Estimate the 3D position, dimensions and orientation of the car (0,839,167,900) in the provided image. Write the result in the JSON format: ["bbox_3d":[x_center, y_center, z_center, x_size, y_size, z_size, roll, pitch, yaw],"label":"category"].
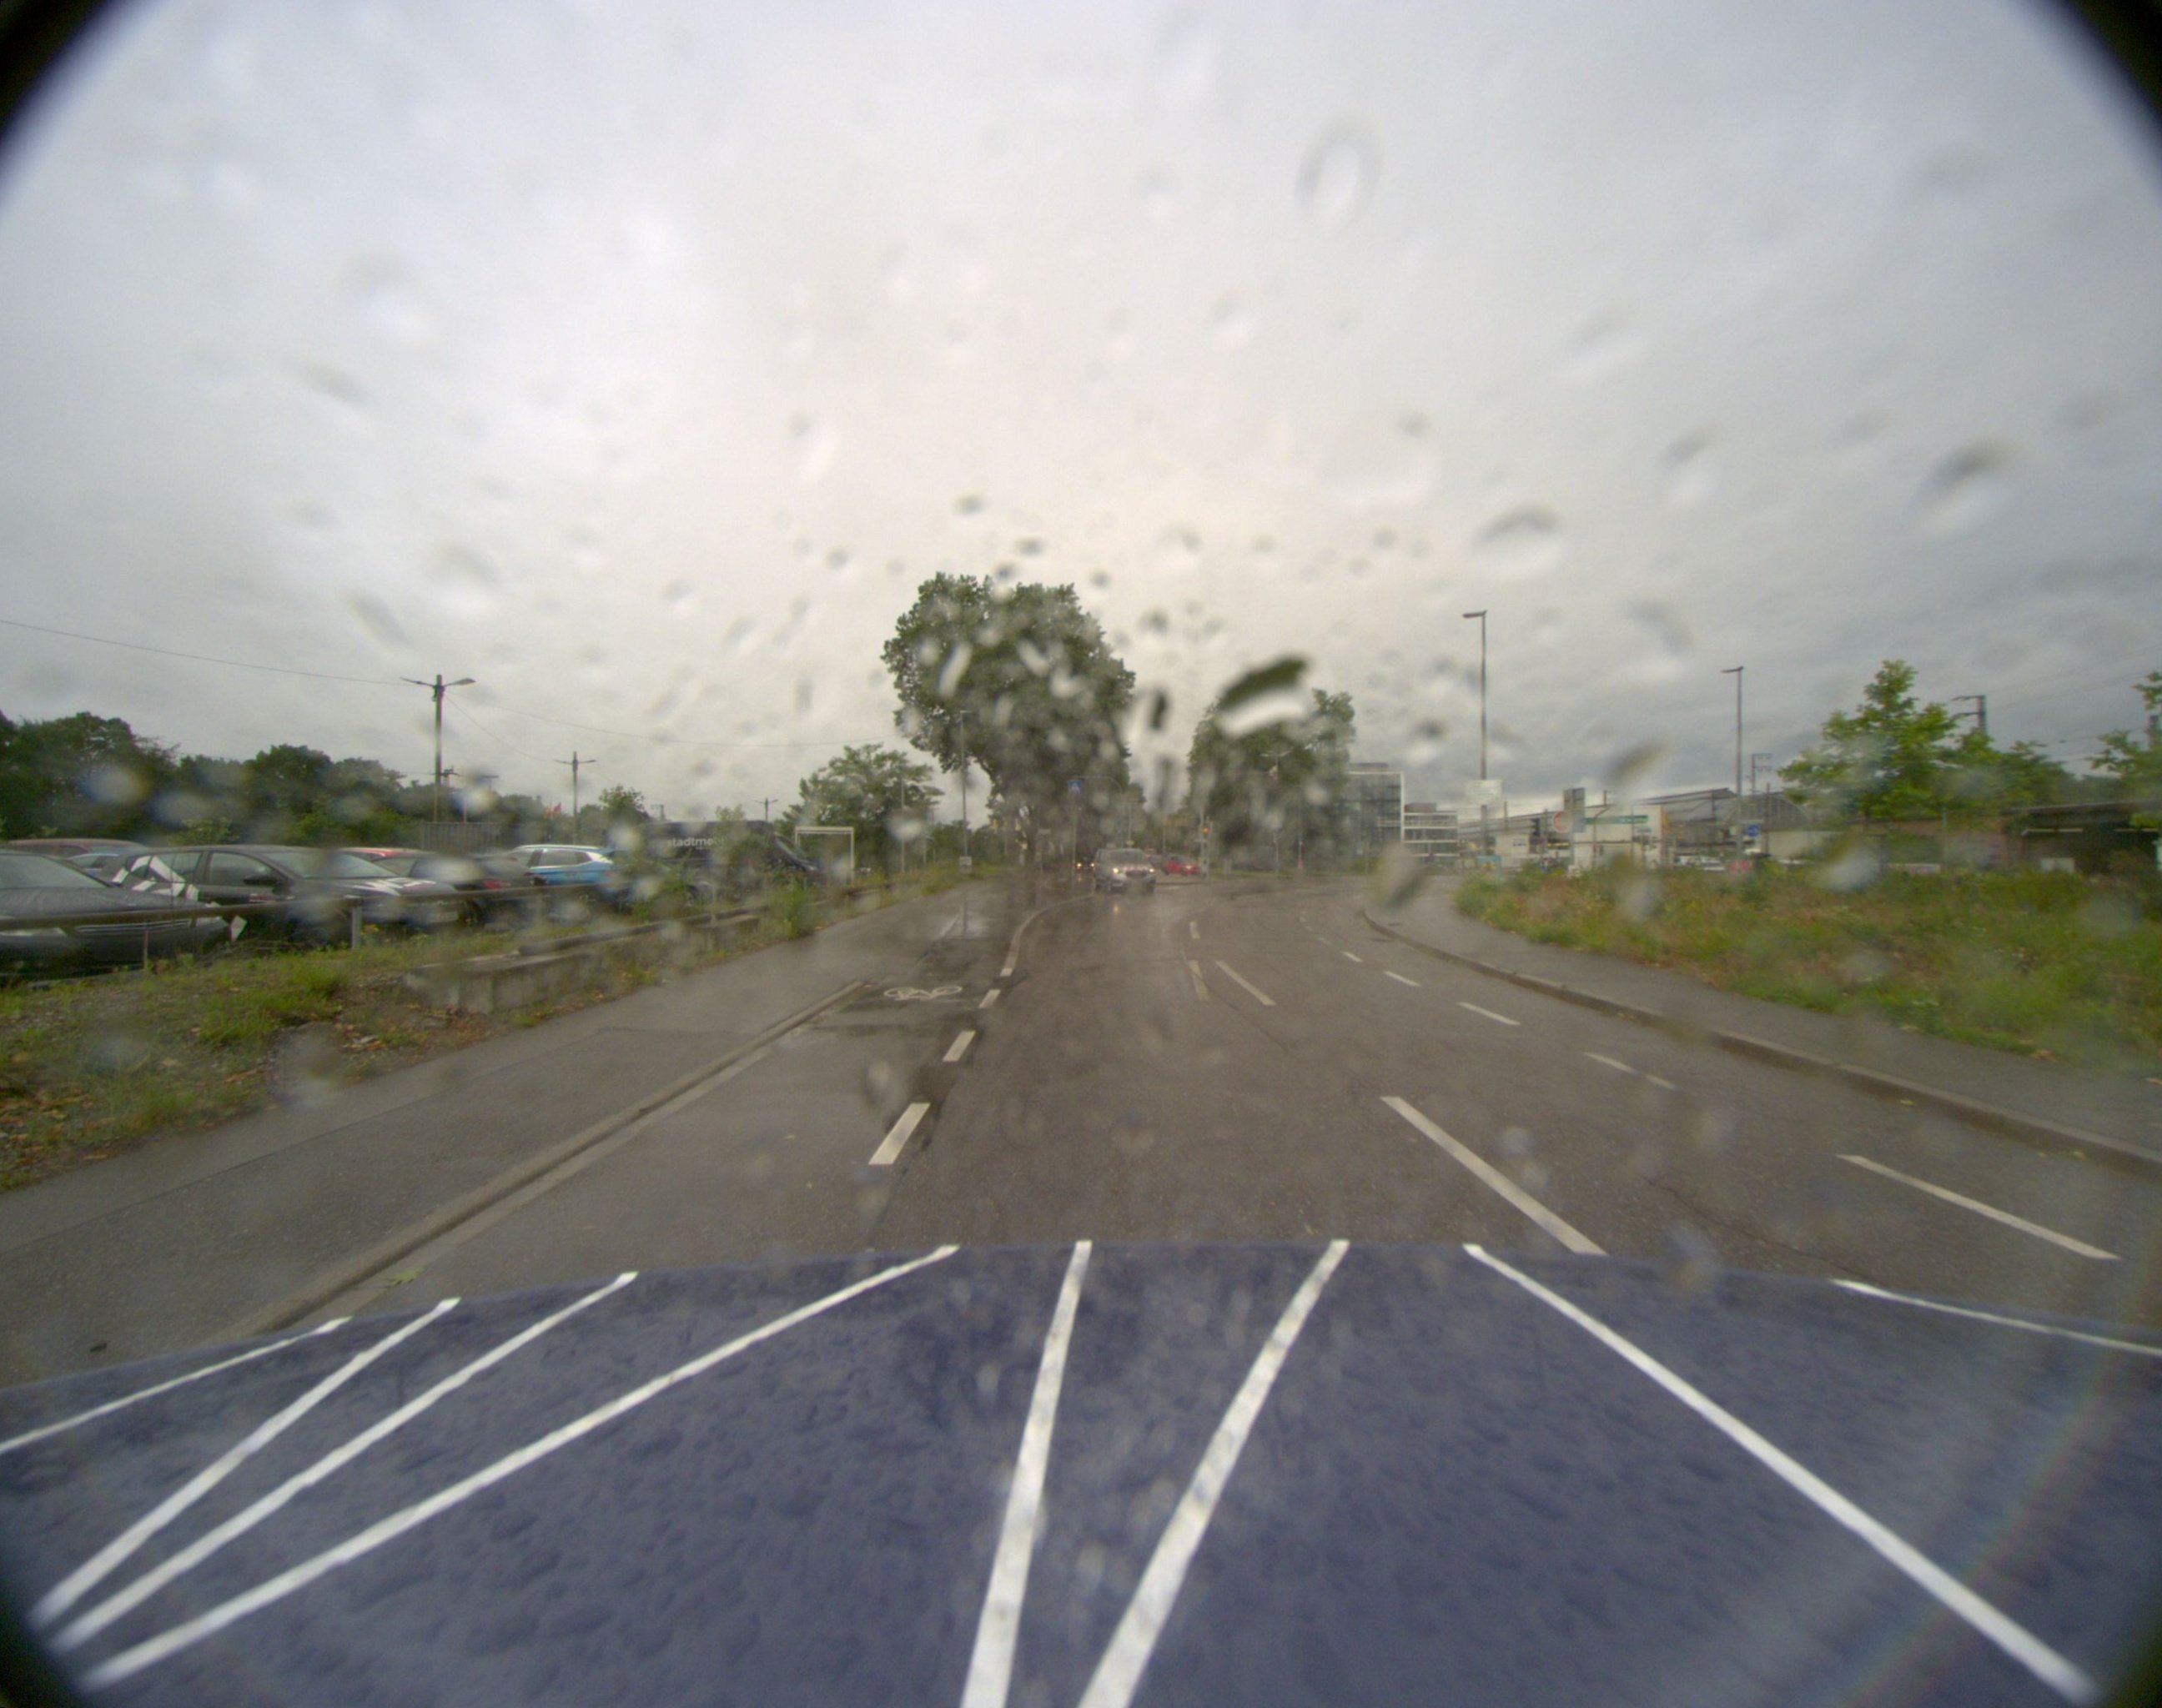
[{"bbox_3d":[-28.773,0.416,21.373,3.996,1.630,1.765,-1,1,1],"label":"car"}]

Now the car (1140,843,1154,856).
[{"bbox_3d":[9.153,-0.616,106.180,1.852,1.592,4.503,-3,-2,4],"label":"car"}]

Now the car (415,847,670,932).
[{"bbox_3d":[-11.106,0.689,15.918,3.906,1.585,1.896,-1,1,-2],"label":"car"}]

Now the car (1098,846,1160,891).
[{"bbox_3d":[1.873,0.528,30.902,1.839,1.714,4.170,0,0,-6],"label":"car"}]

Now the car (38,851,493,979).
[{"bbox_3d":[-10.447,0.728,10.008,3.906,1.415,1.778,-1,1,-2],"label":"car"}]

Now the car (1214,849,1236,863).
[{"bbox_3d":[16.412,0.220,86.569,1.649,1.443,3.531,1,-2,-3],"label":"car"}]

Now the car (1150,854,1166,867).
[{"bbox_3d":[8.009,0.627,78.967,1.643,1.346,3.777,0,0,6],"label":"car"}]

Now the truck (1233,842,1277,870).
[{"bbox_3d":[16.787,0.151,73.776,2.091,2.604,6.974,0,0,-5],"label":"truck"}]

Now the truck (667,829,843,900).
[{"bbox_3d":[-11.556,0.349,27.191,5.342,2.309,2.074,-1,1,0],"label":"truck"}]

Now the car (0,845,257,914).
[{"bbox_3d":[-22.627,0.560,18.047,4.075,1.482,1.926,1,1,2],"label":"car"}]

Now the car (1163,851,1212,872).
[{"bbox_3d":[7.500,0.518,53.626,1.746,1.373,3.993,0,0,-20],"label":"car"}]

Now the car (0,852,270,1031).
[{"bbox_3d":[-10.534,0.745,7.002,3.906,1.415,1.905,-1,1,-2],"label":"car"}]

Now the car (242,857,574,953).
[{"bbox_3d":[-11.183,0.798,12.862,3.906,1.387,1.778,-1,1,-2],"label":"car"}]

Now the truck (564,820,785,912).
[{"bbox_3d":[-11.394,0.307,21.627,5.047,2.389,2.110,-1,1,-2],"label":"truck"}]

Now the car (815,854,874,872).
[{"bbox_3d":[-19.318,0.707,62.251,4.398,1.421,1.874,0,0,-12],"label":"car"}]

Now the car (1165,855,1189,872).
[{"bbox_3d":[8.118,0.783,64.723,1.743,1.373,4.001,1,0,3],"label":"car"}]

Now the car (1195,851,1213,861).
[{"bbox_3d":[19.807,0.355,122.698,1.999,1.632,3.999,0,0,-3],"label":"car"}]

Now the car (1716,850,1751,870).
[{"bbox_3d":[68.700,0.612,80.040,1.995,2.002,4.007,-1,1,28],"label":"car"}]

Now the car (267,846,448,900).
[{"bbox_3d":[-22.358,0.563,23.586,3.961,1.528,1.807,1,1,2],"label":"car"}]

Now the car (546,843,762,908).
[{"bbox_3d":[-10.308,0.493,18.597,4.171,1.412,1.862,-1,1,-3],"label":"car"}]

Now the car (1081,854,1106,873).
[{"bbox_3d":[1.060,0.771,62.079,1.743,1.437,4.002,0,0,5],"label":"car"}]
